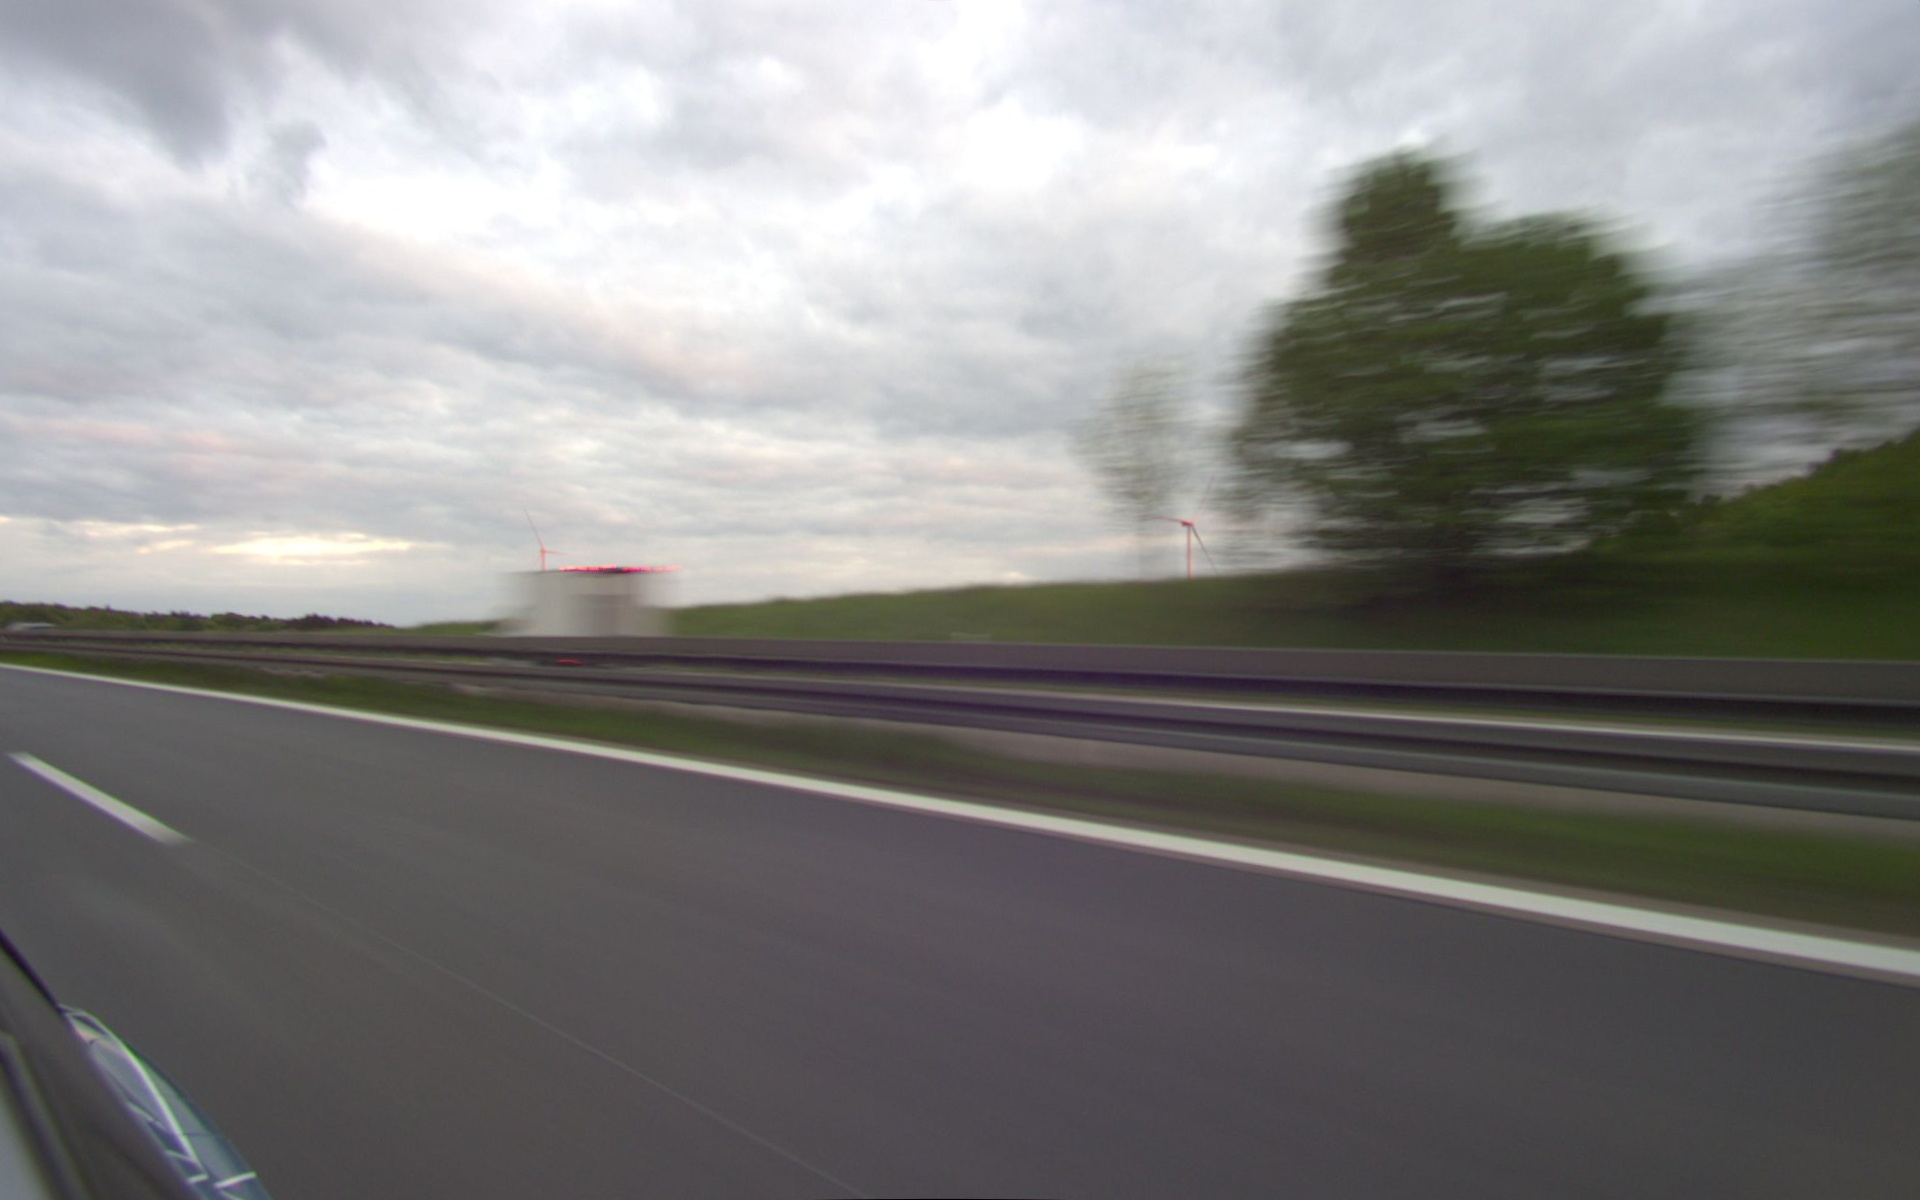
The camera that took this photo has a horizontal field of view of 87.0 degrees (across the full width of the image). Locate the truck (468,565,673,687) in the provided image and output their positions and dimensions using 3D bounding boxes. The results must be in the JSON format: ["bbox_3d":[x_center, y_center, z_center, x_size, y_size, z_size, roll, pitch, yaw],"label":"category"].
[{"bbox_3d":[-11.374,0.730,29.261,6.662,3.133,2.586,-2,-1,39],"label":"truck"}]

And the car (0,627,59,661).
[{"bbox_3d":[-50.479,2.337,54.669,4.628,1.728,1.759,-1,-1,36],"label":"car"}]
